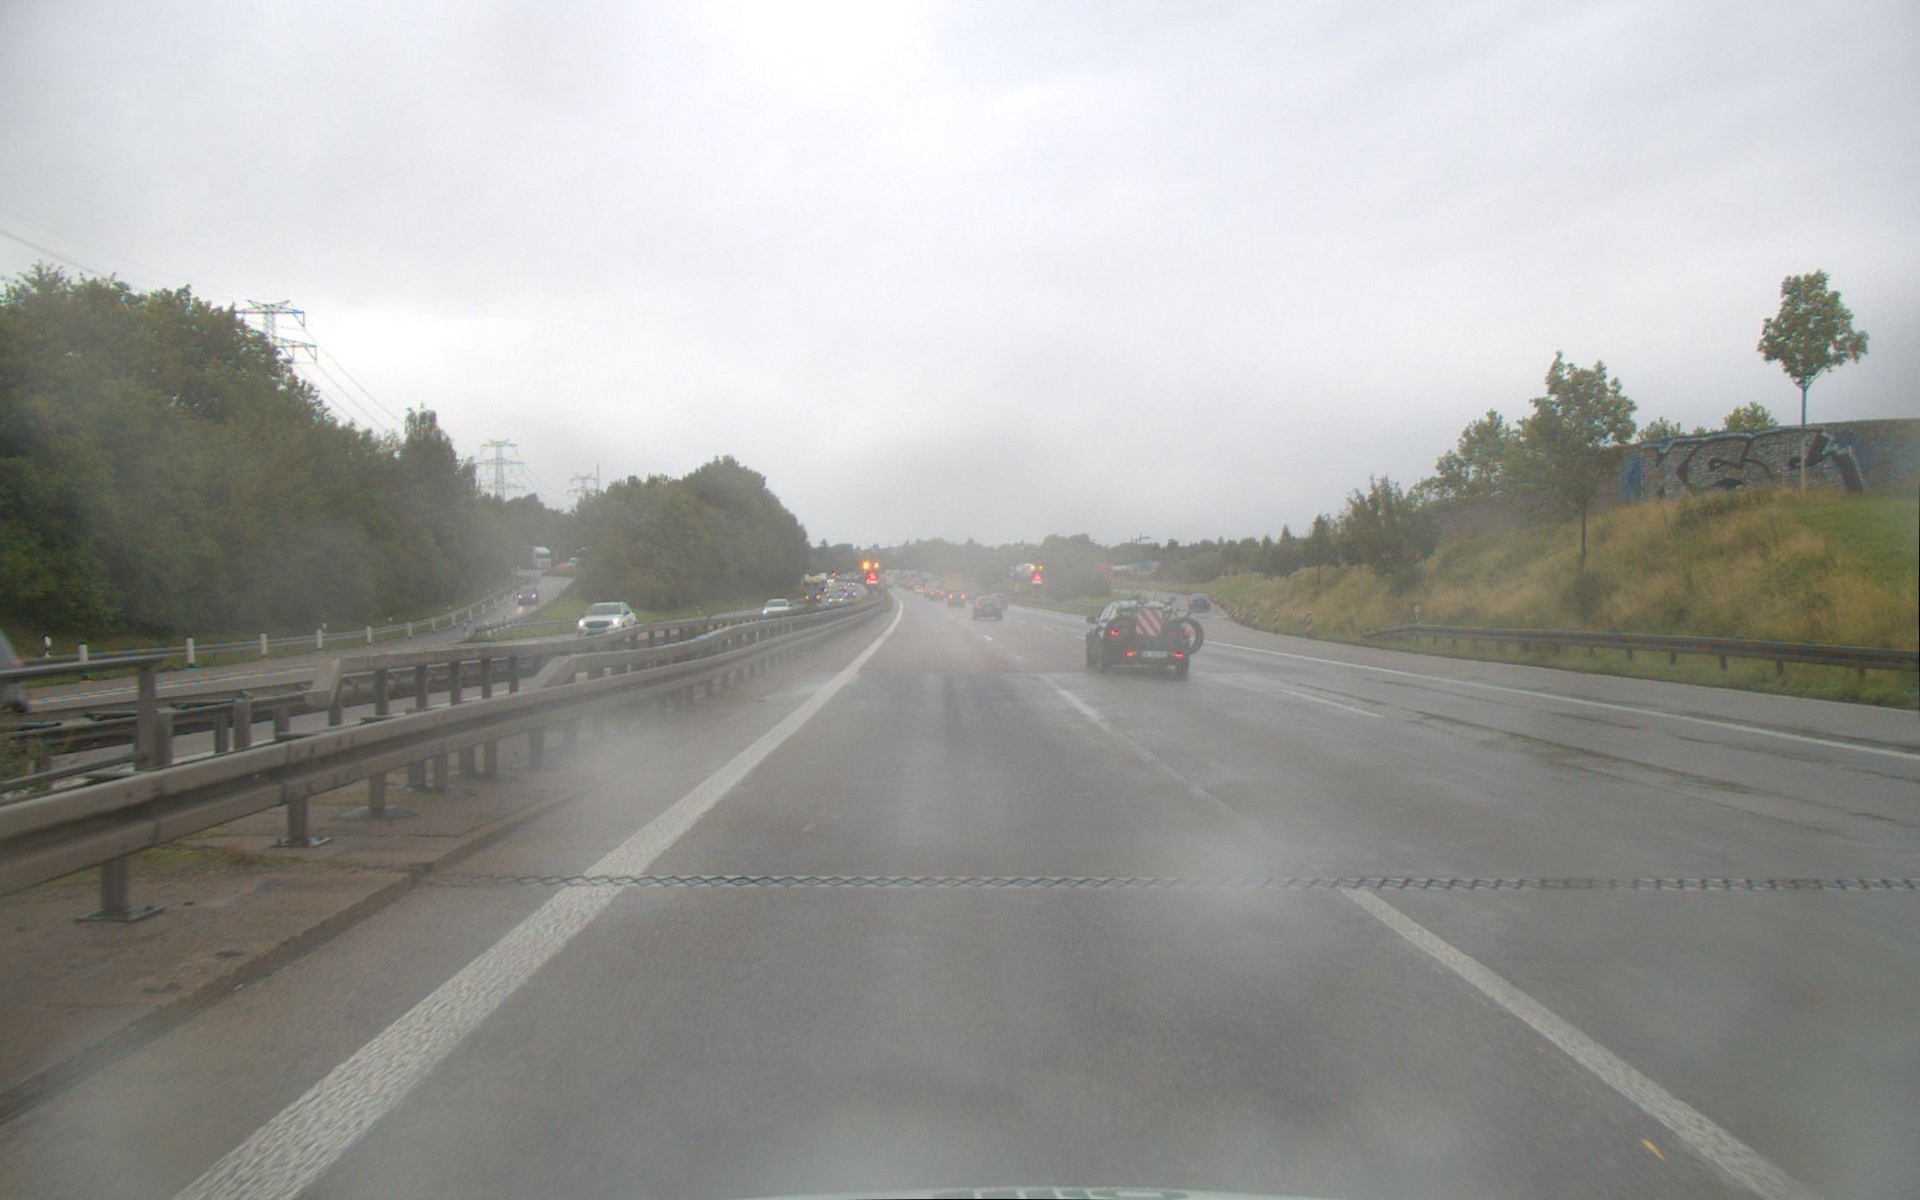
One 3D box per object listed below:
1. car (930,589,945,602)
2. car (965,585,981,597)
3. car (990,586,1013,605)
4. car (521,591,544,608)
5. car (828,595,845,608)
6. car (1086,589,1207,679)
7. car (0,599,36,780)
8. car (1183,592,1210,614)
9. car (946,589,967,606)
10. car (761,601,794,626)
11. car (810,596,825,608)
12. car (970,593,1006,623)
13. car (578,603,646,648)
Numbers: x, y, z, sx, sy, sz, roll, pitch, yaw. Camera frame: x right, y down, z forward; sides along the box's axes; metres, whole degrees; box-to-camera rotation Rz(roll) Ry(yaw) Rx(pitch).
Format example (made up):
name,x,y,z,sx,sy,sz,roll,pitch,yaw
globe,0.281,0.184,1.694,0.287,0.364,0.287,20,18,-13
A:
name,x,y,z,sx,sy,sz,roll,pitch,yaw
car,-3.122,-0.638,227.616,1.954,1.657,3.998,-2,1,-3
car,1.813,-1.335,234.061,1.954,1.657,3.998,-2,1,-3
car,4.017,-0.410,159.678,1.954,1.791,3.998,1,0,-3
car,-40.632,-0.034,157.293,1.934,1.570,3.987,-1,0,-12
car,-15.064,0.170,202.299,1.785,1.538,4.789,-2,0,-2
car,3.760,0.662,34.210,2.015,1.700,5.522,0,0,1
car,-9.476,0.835,13.459,1.791,1.621,3.814,-2,0,-1
car,19.766,0.214,138.438,1.882,1.739,4.002,-2,0,4
car,-0.356,-0.279,171.416,1.954,1.657,3.998,-2,1,-3
car,-12.019,0.863,109.130,1.722,1.487,4.760,-3,0,-1
car,-20.494,0.342,238.286,1.785,1.651,4.789,-2,0,-2
car,1.716,0.476,102.582,1.954,1.791,3.998,-2,1,-3
car,-14.252,1.011,67.953,1.866,1.694,4.712,-2,0,-1
